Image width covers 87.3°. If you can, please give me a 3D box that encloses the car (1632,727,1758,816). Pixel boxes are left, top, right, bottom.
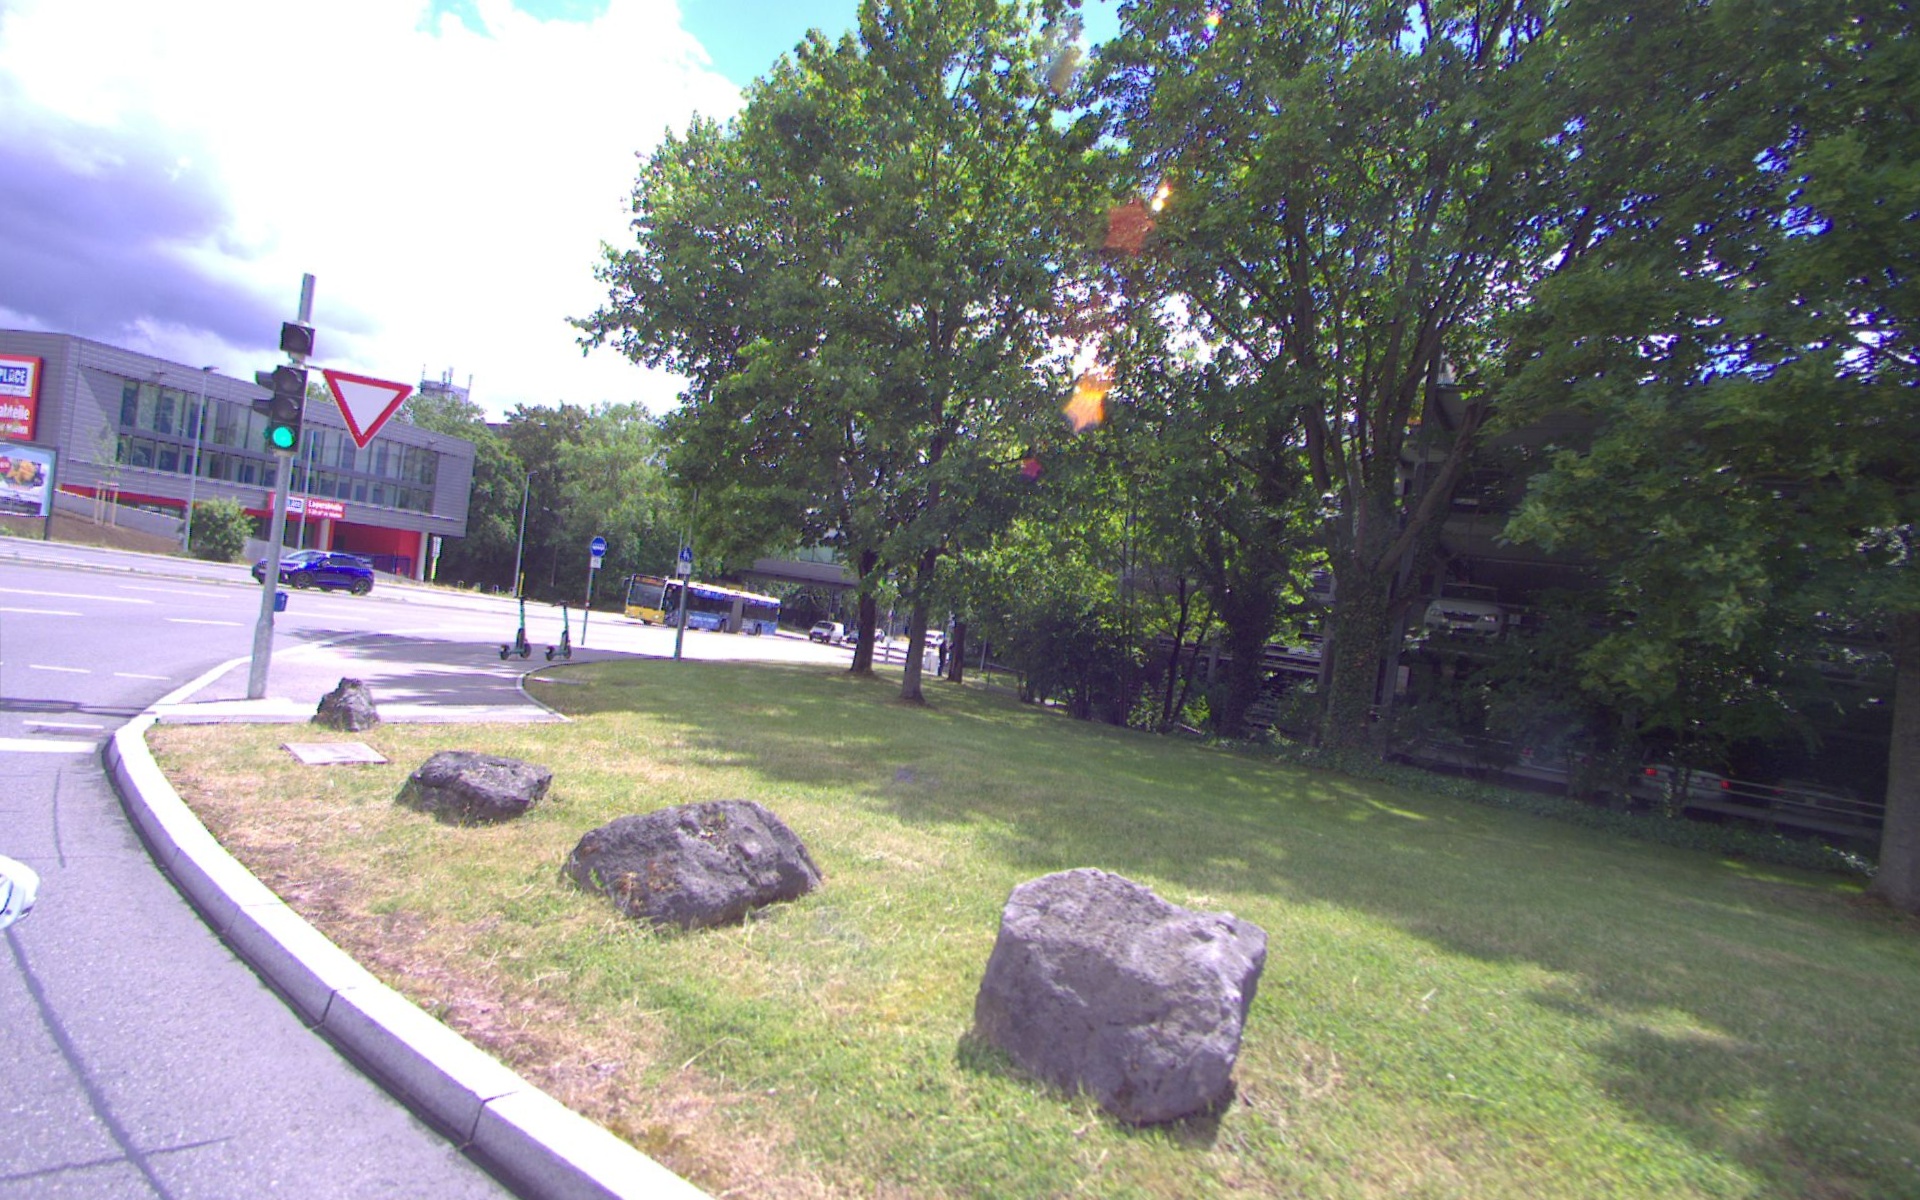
[{"bbox_3d":[15.718,3.615,21.688,1.747,1.308,3.791,8,0,32],"label":"car"}]

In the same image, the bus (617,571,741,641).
[{"bbox_3d":[-17.892,0.541,65.024,2.771,3.320,10.138,8,-3,13],"label":"bus"}]

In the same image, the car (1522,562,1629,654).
[{"bbox_3d":[13.898,0.226,22.705,1.699,1.560,3.695,11,1,33],"label":"car"}]

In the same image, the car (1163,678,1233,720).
[{"bbox_3d":[10.486,4.330,44.144,1.747,1.490,3.791,8,0,32],"label":"car"}]

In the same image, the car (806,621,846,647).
[{"bbox_3d":[-12.318,3.194,92.768,1.847,1.946,4.757,8,-2,13],"label":"car"}]

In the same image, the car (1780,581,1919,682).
[{"bbox_3d":[17.924,0.685,20.129,1.699,1.560,3.695,11,1,33],"label":"car"}]

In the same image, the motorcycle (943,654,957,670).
[{"bbox_3d":[-0.752,4.661,75.315,0.538,1.122,2.021,7,-3,9],"label":"motorcycle"}]

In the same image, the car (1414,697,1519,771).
[{"bbox_3d":[12.069,3.098,23.852,1.747,1.308,3.791,8,0,32],"label":"car"}]

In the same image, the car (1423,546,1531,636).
[{"bbox_3d":[12.248,-0.156,23.722,1.699,1.560,3.695,11,1,33],"label":"car"}]

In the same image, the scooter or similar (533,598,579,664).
[{"bbox_3d":[-8.312,0.634,20.753,0.525,1.279,1.188,6,-2,-10],"label":"scooter or similar"}]

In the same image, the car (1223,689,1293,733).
[{"bbox_3d":[12.653,4.658,42.542,1.747,1.490,3.791,8,0,32],"label":"car"}]

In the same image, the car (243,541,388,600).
[{"bbox_3d":[-23.896,-1.059,37.521,1.776,1.528,4.404,8,-2,14],"label":"car"}]

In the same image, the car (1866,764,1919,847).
[{"bbox_3d":[19.339,4.127,19.563,1.747,1.308,3.791,8,0,32],"label":"car"}]

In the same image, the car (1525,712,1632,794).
[{"bbox_3d":[13.938,3.374,22.726,1.747,1.308,3.791,8,0,32],"label":"car"}]

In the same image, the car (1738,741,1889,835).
[{"bbox_3d":[17.976,3.897,21.378,1.747,1.308,3.791,8,0,32],"label":"car"}]

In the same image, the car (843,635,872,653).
[{"bbox_3d":[-10.372,4.445,102.416,1.611,1.487,3.781,8,-2,14],"label":"car"}]

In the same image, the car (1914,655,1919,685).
[{"bbox_3d":[20.043,0.986,19.245,1.699,1.560,3.695,11,1,33],"label":"car"}]

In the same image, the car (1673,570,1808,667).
[{"bbox_3d":[16.428,0.456,21.347,1.699,1.560,3.695,11,1,33],"label":"car"}]

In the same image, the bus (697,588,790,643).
[{"bbox_3d":[-15.822,1.280,74.293,2.771,3.199,8.919,8,-2,13],"label":"bus"}]

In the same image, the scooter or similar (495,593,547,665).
[{"bbox_3d":[-8.420,0.556,19.338,0.525,1.279,1.188,6,-2,-10],"label":"scooter or similar"}]

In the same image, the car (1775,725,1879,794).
[{"bbox_3d":[25.152,4.585,29.302,1.568,1.388,3.773,8,2,32],"label":"car"}]

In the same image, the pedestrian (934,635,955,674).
[{"bbox_3d":[-0.732,2.554,47.331,0.581,1.741,0.771,6,3,-15],"label":"pedestrian"}]
